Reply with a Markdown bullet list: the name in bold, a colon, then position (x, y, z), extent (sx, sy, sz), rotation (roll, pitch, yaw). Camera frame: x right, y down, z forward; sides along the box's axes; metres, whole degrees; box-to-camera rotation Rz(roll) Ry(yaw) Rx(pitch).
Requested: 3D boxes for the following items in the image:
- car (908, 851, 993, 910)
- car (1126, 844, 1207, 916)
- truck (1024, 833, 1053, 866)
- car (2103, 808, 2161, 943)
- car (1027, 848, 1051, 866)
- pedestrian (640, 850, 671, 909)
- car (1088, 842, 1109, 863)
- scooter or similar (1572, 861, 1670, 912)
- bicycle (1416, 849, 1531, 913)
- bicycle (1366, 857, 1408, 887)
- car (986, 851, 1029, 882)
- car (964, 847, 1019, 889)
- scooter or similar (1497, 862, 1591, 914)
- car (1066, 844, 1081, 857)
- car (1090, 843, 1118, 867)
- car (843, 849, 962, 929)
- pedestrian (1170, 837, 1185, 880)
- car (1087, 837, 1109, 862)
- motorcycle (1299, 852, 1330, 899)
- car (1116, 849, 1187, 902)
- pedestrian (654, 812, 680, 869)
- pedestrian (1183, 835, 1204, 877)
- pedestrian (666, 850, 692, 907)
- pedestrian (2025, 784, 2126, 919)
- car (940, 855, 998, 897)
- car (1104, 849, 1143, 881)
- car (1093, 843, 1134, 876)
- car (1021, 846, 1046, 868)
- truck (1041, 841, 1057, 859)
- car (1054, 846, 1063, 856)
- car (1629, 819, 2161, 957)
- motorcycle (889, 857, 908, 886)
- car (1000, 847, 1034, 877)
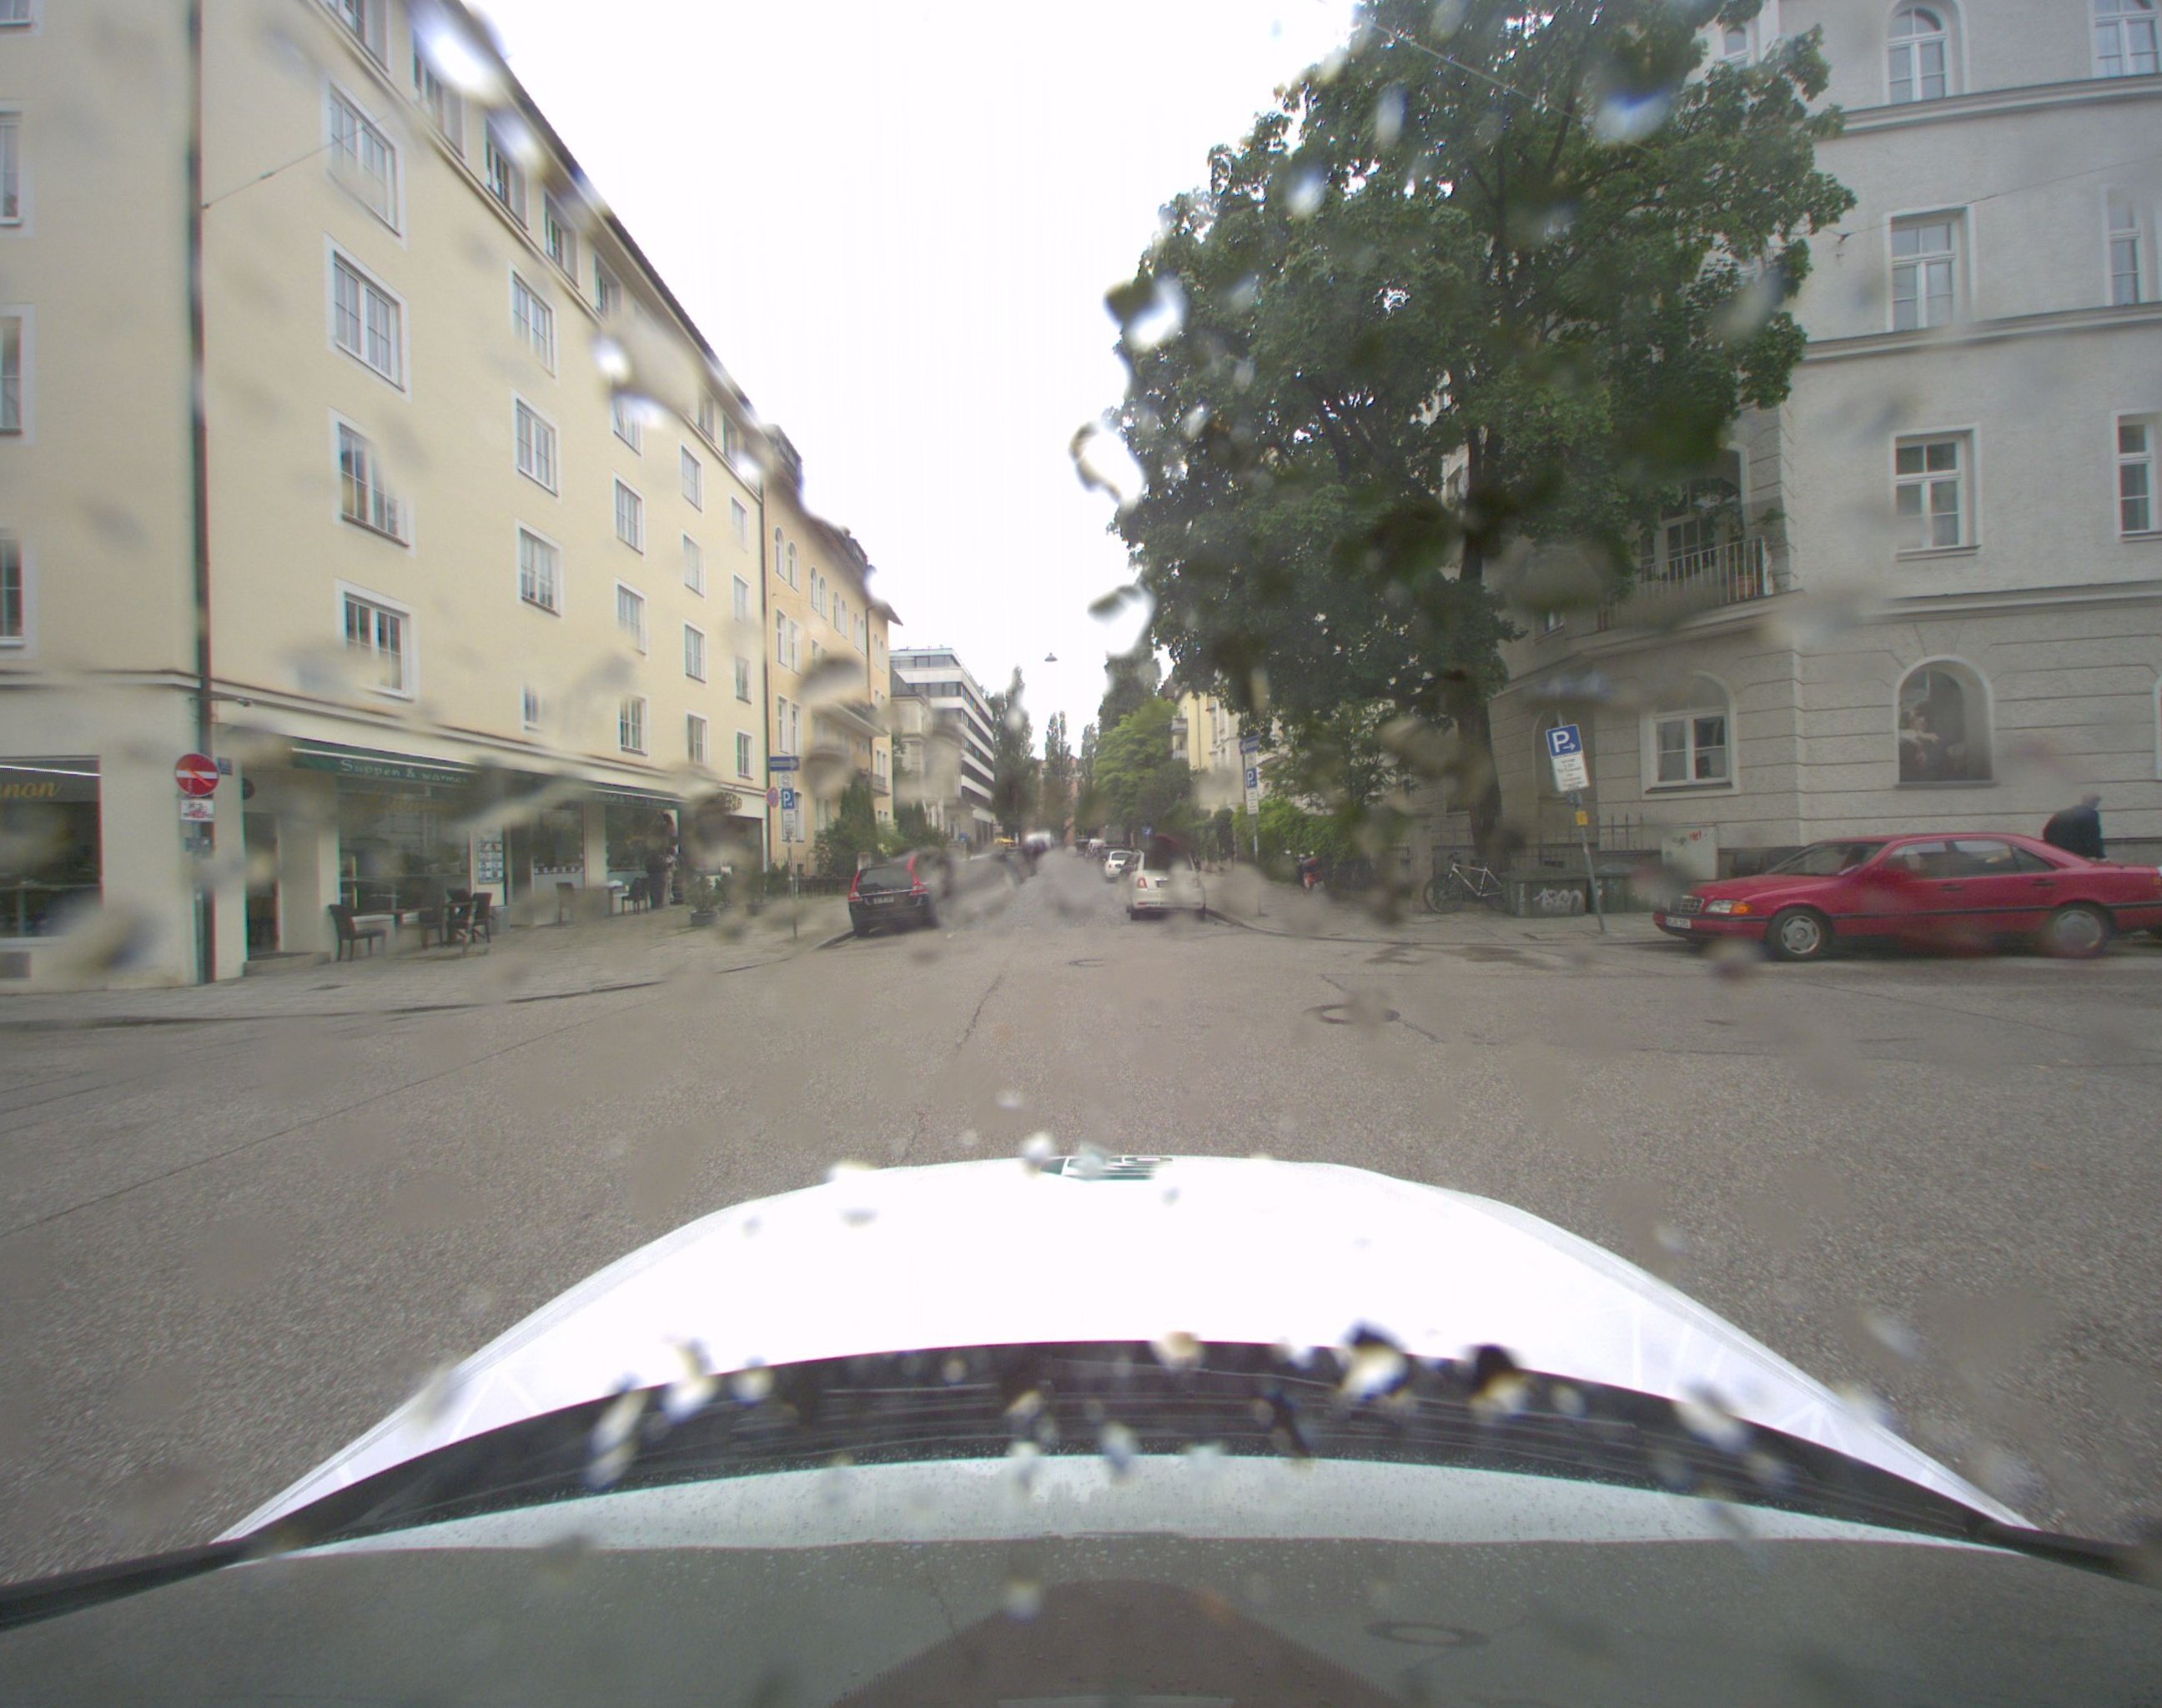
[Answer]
- **car**: position (-3.744, 0.718, 24.039), extent (1.768, 1.536, 4.539), rotation (-1, 0, 0)
- **car**: position (1.896, 0.545, 18.961), extent (1.496, 1.471, 3.796), rotation (-2, 0, 1)
- **truck**: position (-4.232, -0.481, 82.393), extent (2.501, 3.031, 6.381), rotation (-4, 1, -2)
- **car**: position (14.031, 0.186, 8.755), extent (3.868, 1.521, 1.568), rotation (-2, 0, 4)
- **car**: position (-3.599, 0.291, 71.012), extent (1.934, 1.459, 4.055), rotation (-1, 0, -1)
- **pedestrian**: position (-12.065, 0.724, 23.097), extent (0.520, 1.642, 0.629), rotation (-1, 0, -1)
- **car**: position (1.672, -0.143, 78.255), extent (1.795, 1.949, 4.858), rotation (1, 0, -1)
- **scooter or similar**: position (9.373, 0.556, 14.171), extent (1.230, 0.825, 0.698), rotation (-1, 0, 9)
- **bicycle**: position (7.300, 0.506, 15.202), extent (1.827, 1.124, 0.564), rotation (-2, 0, 9)
- **bicycle**: position (8.917, 0.511, 23.797), extent (0.489, 0.812, 2.276), rotation (-1, 0, 4)
- **car**: position (-3.686, 0.588, 41.293), extent (1.768, 1.429, 4.390), rotation (-1, 0, 0)
- **car**: position (-3.793, 0.580, 35.183), extent (1.768, 1.647, 4.391), rotation (-1, 0, 0)
- **scooter or similar**: position (8.095, 0.588, 14.287), extent (1.176, 0.848, 0.927), rotation (-1, 0, 9)
- **car**: position (-1.108, -0.477, 123.646), extent (1.989, 1.936, 4.001), rotation (-2, 0, 1)
- **car**: position (1.812, 0.076, 65.331), extent (1.957, 1.759, 4.952), rotation (-1, 0, -1)
- **car**: position (-3.988, 0.721, 19.003), extent (1.847, 1.586, 4.744), rotation (-1, 0, -2)
- **pedestrian**: position (4.252, 0.180, 35.869), extent (0.572, 1.850, 0.683), rotation (-2, 0, 7)
- **car**: position (1.720, -0.493, 83.785), extent (1.889, 2.426, 5.608), rotation (2, 1, -1)
- **motorcycle**: position (5.611, 0.501, 19.606), extent (0.361, 1.090, 1.404), rotation (-1, 0, 2)
- **car**: position (2.064, 0.607, 25.019), extent (1.643, 1.422, 4.629), rotation (2, 0, -1)
- **pedestrian**: position (-12.131, -0.378, 23.871), extent (0.475, 1.642, 0.497), rotation (-1, 0, 4)
- **pedestrian**: position (5.018, 0.091, 36.260), extent (0.631, 1.808, 0.655), rotation (-1, 0, -24)
- **pedestrian**: position (-12.121, 0.731, 24.574), extent (0.460, 1.690, 0.574), rotation (-1, 0, 0)
- **pedestrian**: position (14.317, -0.041, 11.745), extent (0.493, 1.876, 0.741), rotation (-1, 0, -5)
- **car**: position (-3.914, 0.732, 29.078), extent (1.771, 1.359, 4.383), rotation (-1, 0, -5)
- **car**: position (2.002, 0.514, 39.028), extent (1.625, 1.469, 3.658), rotation (0, 0, -1)
- **car**: position (1.703, 0.281, 44.499), extent (1.870, 1.672, 5.488), rotation (-1, 0, -1)
- **car**: position (-3.810, 0.247, 65.789), extent (1.769, 1.717, 4.388), rotation (-1, 0, -1)
- **truck**: position (-4.334, -0.533, 111.153), extent (1.987, 2.346, 4.067), rotation (-1, 0, -1)
- **car**: position (-3.803, -0.507, 137.054), extent (1.272, 1.541, 3.119), rotation (-1, 0, 1)
- **car**: position (9.393, 0.380, 9.678), extent (4.443, 1.358, 1.764), rotation (-2, 0, 7)
- **motorcycle**: position (-7.911, 0.756, 35.349), extent (0.489, 1.194, 1.579), rotation (-1, 0, -1)
- **car**: position (-3.680, 0.473, 47.595), extent (1.575, 1.590, 4.055), rotation (-4, 0, 0)
